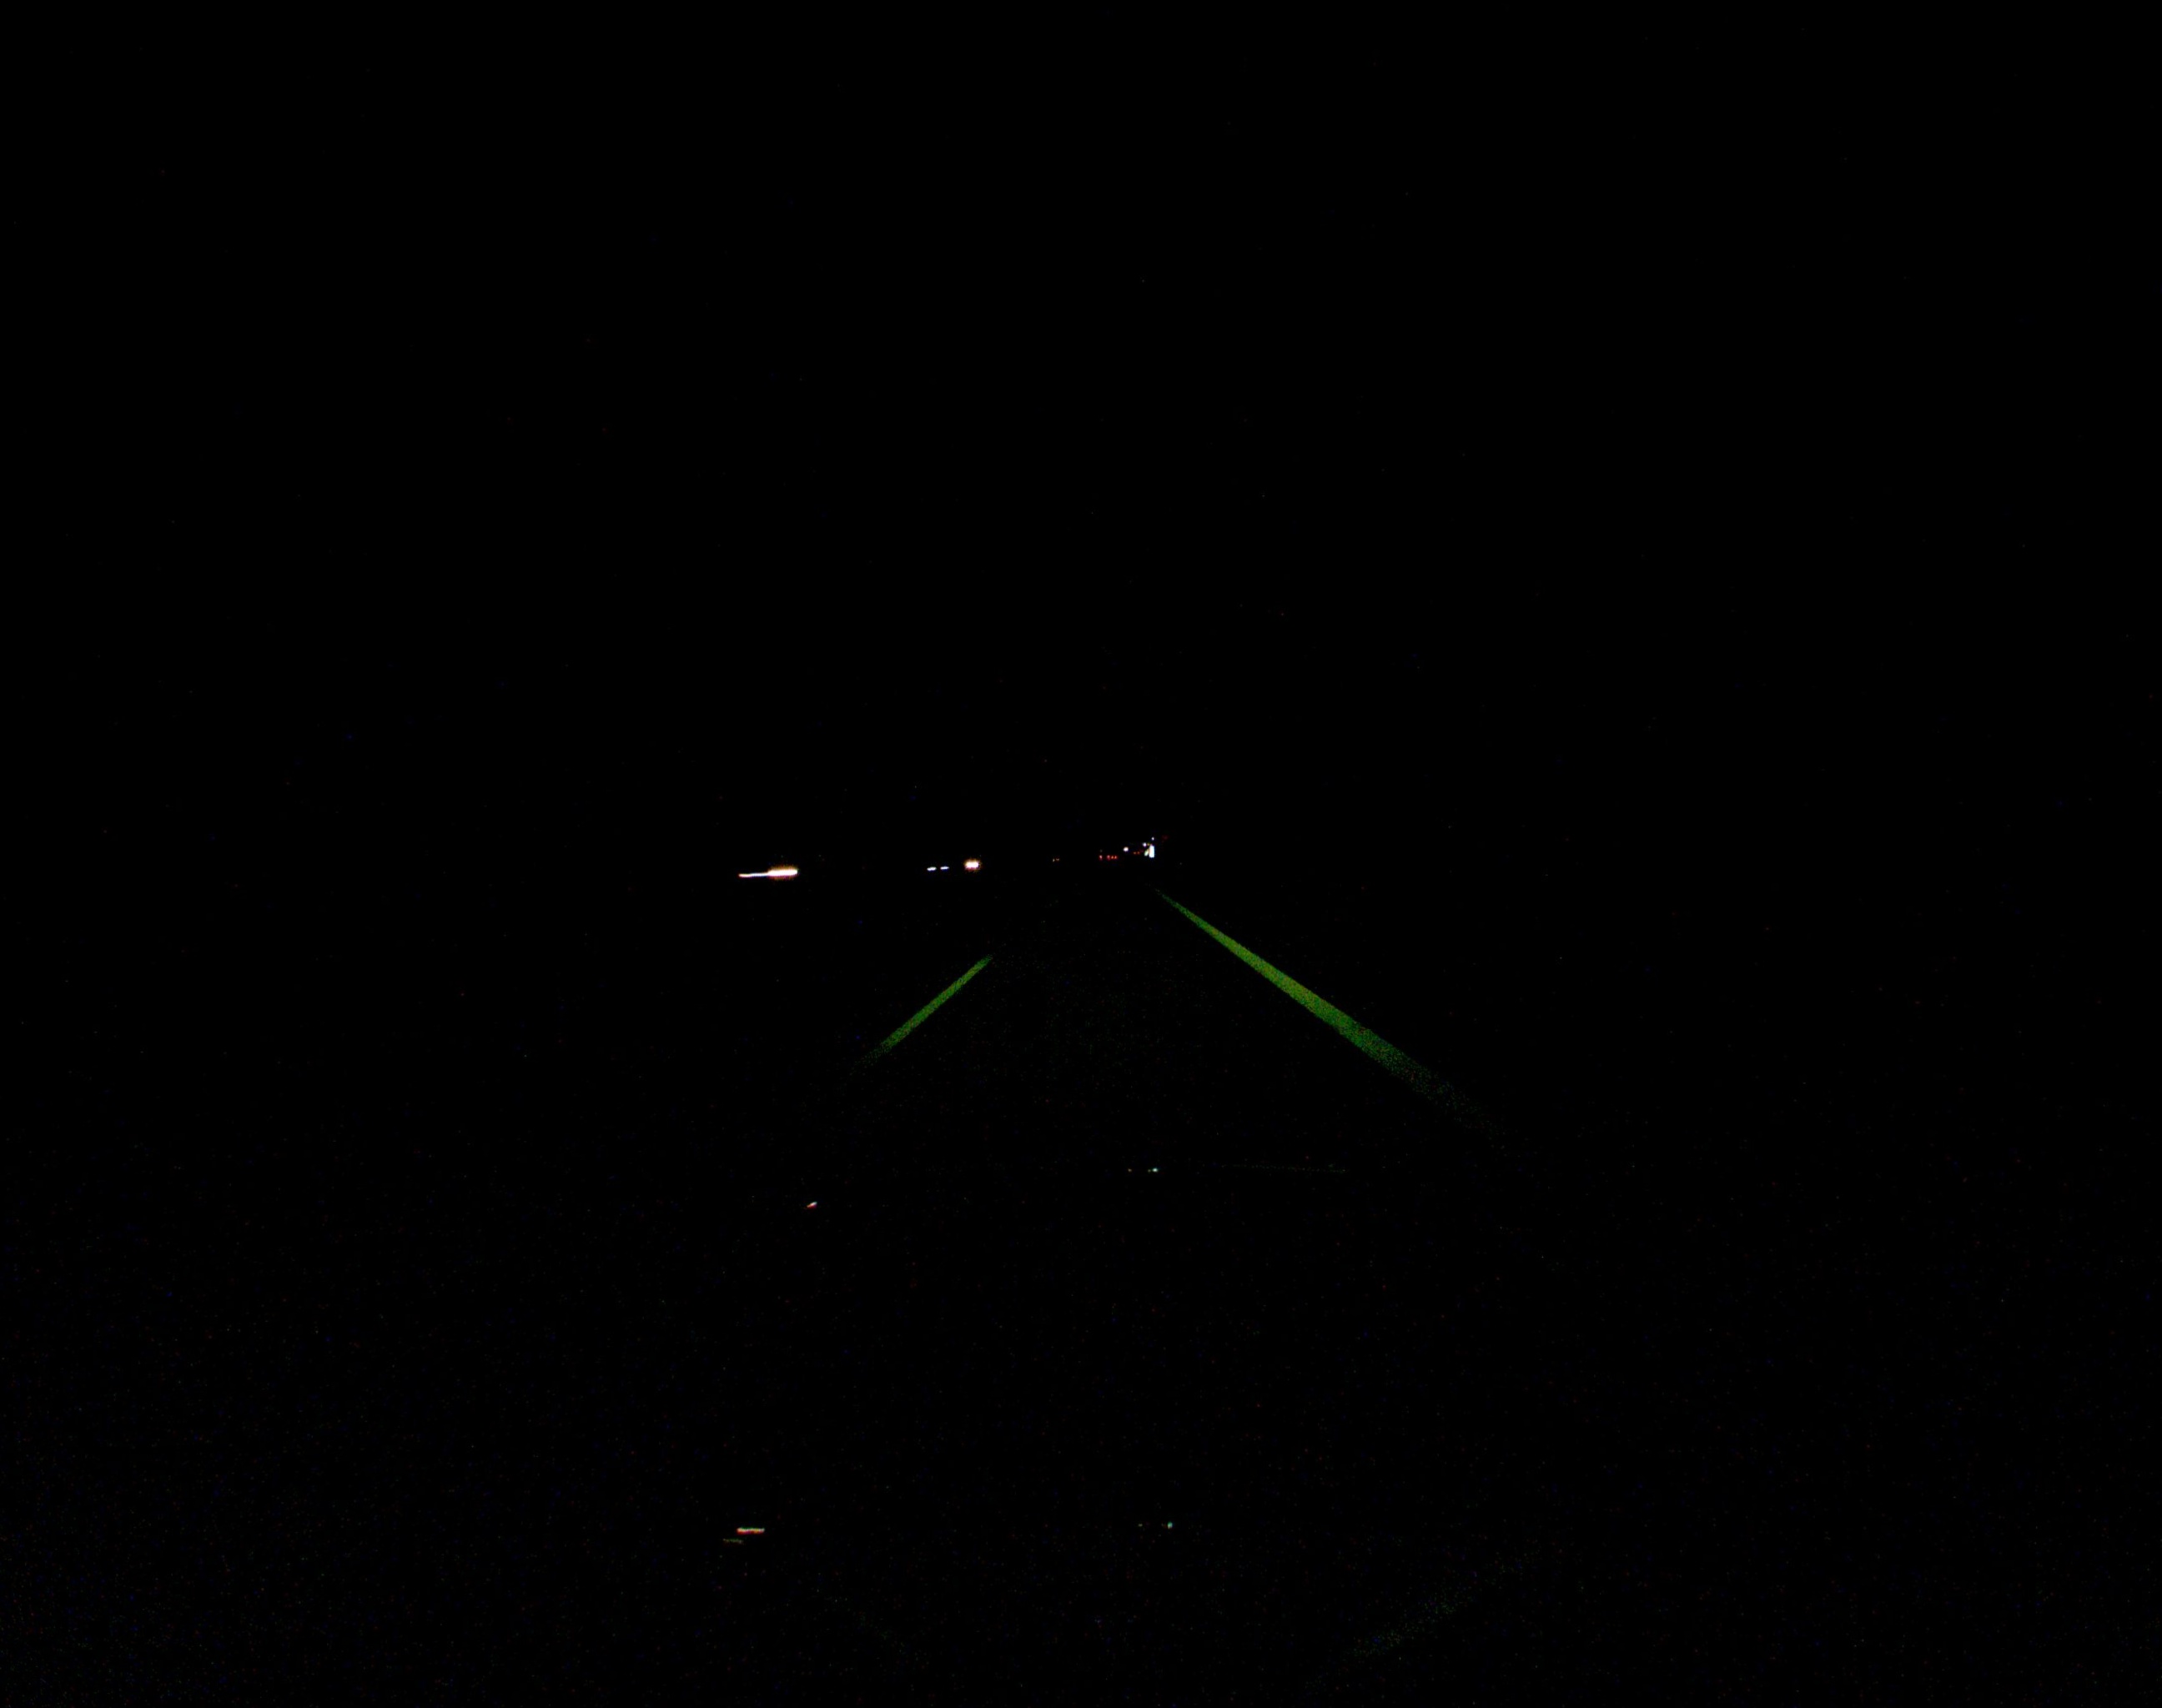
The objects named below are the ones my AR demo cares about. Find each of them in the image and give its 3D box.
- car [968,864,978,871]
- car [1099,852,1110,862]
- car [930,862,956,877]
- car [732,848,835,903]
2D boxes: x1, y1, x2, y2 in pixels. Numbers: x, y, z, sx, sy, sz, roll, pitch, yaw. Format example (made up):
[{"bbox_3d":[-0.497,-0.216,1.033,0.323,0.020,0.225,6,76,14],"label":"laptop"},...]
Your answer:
[{"bbox_3d":[-23.581,2.930,178.318,1.587,1.264,3.999,-2,0,0],"label":"car"},{"bbox_3d":[5.558,0.741,192.811,2.500,2.314,4.974,-2,0,3],"label":"car"},{"bbox_3d":[-15.241,1.725,90.093,1.854,1.498,4.707,-2,0,2],"label":"car"},{"bbox_3d":[-17.118,1.139,47.520,2.943,2.857,7.719,-2,0,1],"label":"car"}]
